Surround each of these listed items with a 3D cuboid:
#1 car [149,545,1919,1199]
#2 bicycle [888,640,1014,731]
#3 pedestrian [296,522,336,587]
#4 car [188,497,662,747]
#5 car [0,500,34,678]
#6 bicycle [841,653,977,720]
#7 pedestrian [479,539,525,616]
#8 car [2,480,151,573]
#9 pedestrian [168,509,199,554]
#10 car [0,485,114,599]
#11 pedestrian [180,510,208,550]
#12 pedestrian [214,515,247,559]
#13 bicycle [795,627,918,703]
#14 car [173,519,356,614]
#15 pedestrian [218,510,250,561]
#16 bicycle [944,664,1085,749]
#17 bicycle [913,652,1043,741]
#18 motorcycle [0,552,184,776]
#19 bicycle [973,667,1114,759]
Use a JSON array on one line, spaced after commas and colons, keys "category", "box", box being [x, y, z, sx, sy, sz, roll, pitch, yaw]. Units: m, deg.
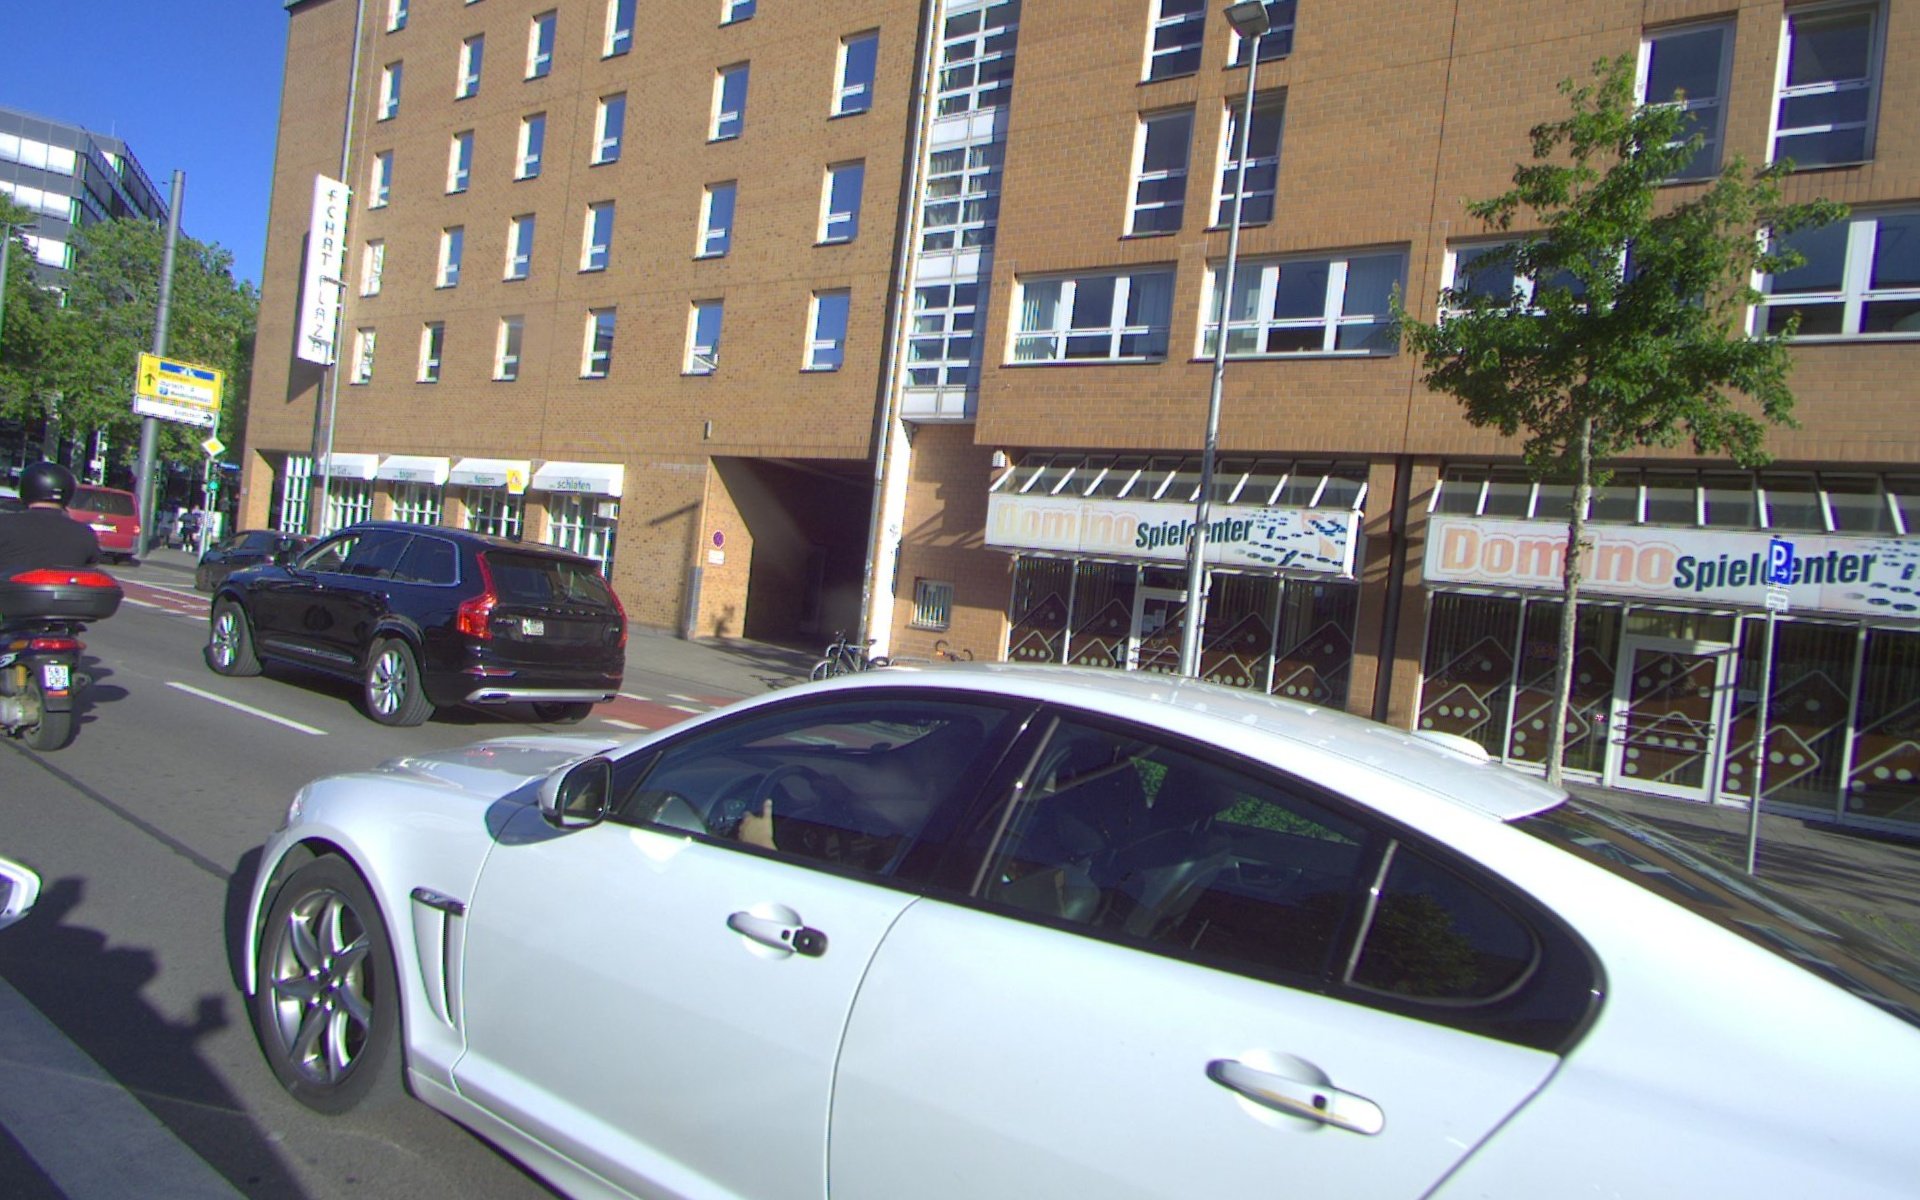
[{"category": "car", "box": [0.058, 0.863, 2.608, 4.739, 1.430, 1.784, 7, -2, 32]}, {"category": "bicycle", "box": [-0.092, 1.201, 14.095, 0.484, 1.151, 1.941, 6, 1, 42]}, {"category": "pedestrian", "box": [-19.114, -1.348, 29.863, 0.736, 1.844, 0.607, 6, 0, 31]}, {"category": "car", "box": [-5.367, 0.153, 9.936, 4.556, 1.779, 1.979, 7, -2, 32]}, {"category": "car", "box": [-10.426, -0.374, 9.195, 4.336, 1.514, 1.696, 7, -2, 32]}, {"category": "bicycle", "box": [-0.734, 1.293, 14.885, 1.930, 0.846, 0.550, 6, 1, -32]}, {"category": "pedestrian", "box": [-11.564, -0.558, 25.402, 0.736, 1.844, 0.607, 6, 0, 31]}, {"category": "car", "box": [-23.385, -1.954, 26.590, 3.935, 1.985, 1.862, 7, 0, 33]}, {"category": "pedestrian", "box": [-31.135, -2.731, 40.355, 0.511, 1.680, 0.685, 7, -1, 32]}, {"category": "car", "box": [-16.533, -1.135, 17.172, 4.306, 1.659, 1.854, 7, -1, 32]}, {"category": "pedestrian", "box": [-34.168, -3.122, 44.888, 0.511, 1.680, 0.698, 7, -1, 32]}, {"category": "pedestrian", "box": [-30.773, -2.655, 42.452, 0.511, 1.680, 0.828, 7, -1, 32]}, {"category": "bicycle", "box": [-1.626, 1.059, 16.066, 0.617, 1.088, 1.940, 6, 0, 43]}, {"category": "car", "box": [-14.878, -0.722, 21.482, 3.933, 1.549, 1.669, 7, 0, 31]}, {"category": "pedestrian", "box": [-27.817, -2.467, 38.532, 0.736, 1.844, 0.607, 6, 0, 31]}, {"category": "bicycle", "box": [0.748, 1.395, 13.180, 1.937, 0.981, 0.548, 6, 1, -41]}, {"category": "bicycle", "box": [0.277, 1.312, 13.735, 0.547, 1.088, 1.941, 6, 0, 42]}, {"category": "motorcycle", "box": [-5.965, 0.301, 6.284, 2.509, 1.075, 0.838, 7, 0, 31]}, {"category": "bicycle", "box": [1.091, 1.434, 12.773, 1.937, 1.035, 0.496, 6, 1, -41]}]
